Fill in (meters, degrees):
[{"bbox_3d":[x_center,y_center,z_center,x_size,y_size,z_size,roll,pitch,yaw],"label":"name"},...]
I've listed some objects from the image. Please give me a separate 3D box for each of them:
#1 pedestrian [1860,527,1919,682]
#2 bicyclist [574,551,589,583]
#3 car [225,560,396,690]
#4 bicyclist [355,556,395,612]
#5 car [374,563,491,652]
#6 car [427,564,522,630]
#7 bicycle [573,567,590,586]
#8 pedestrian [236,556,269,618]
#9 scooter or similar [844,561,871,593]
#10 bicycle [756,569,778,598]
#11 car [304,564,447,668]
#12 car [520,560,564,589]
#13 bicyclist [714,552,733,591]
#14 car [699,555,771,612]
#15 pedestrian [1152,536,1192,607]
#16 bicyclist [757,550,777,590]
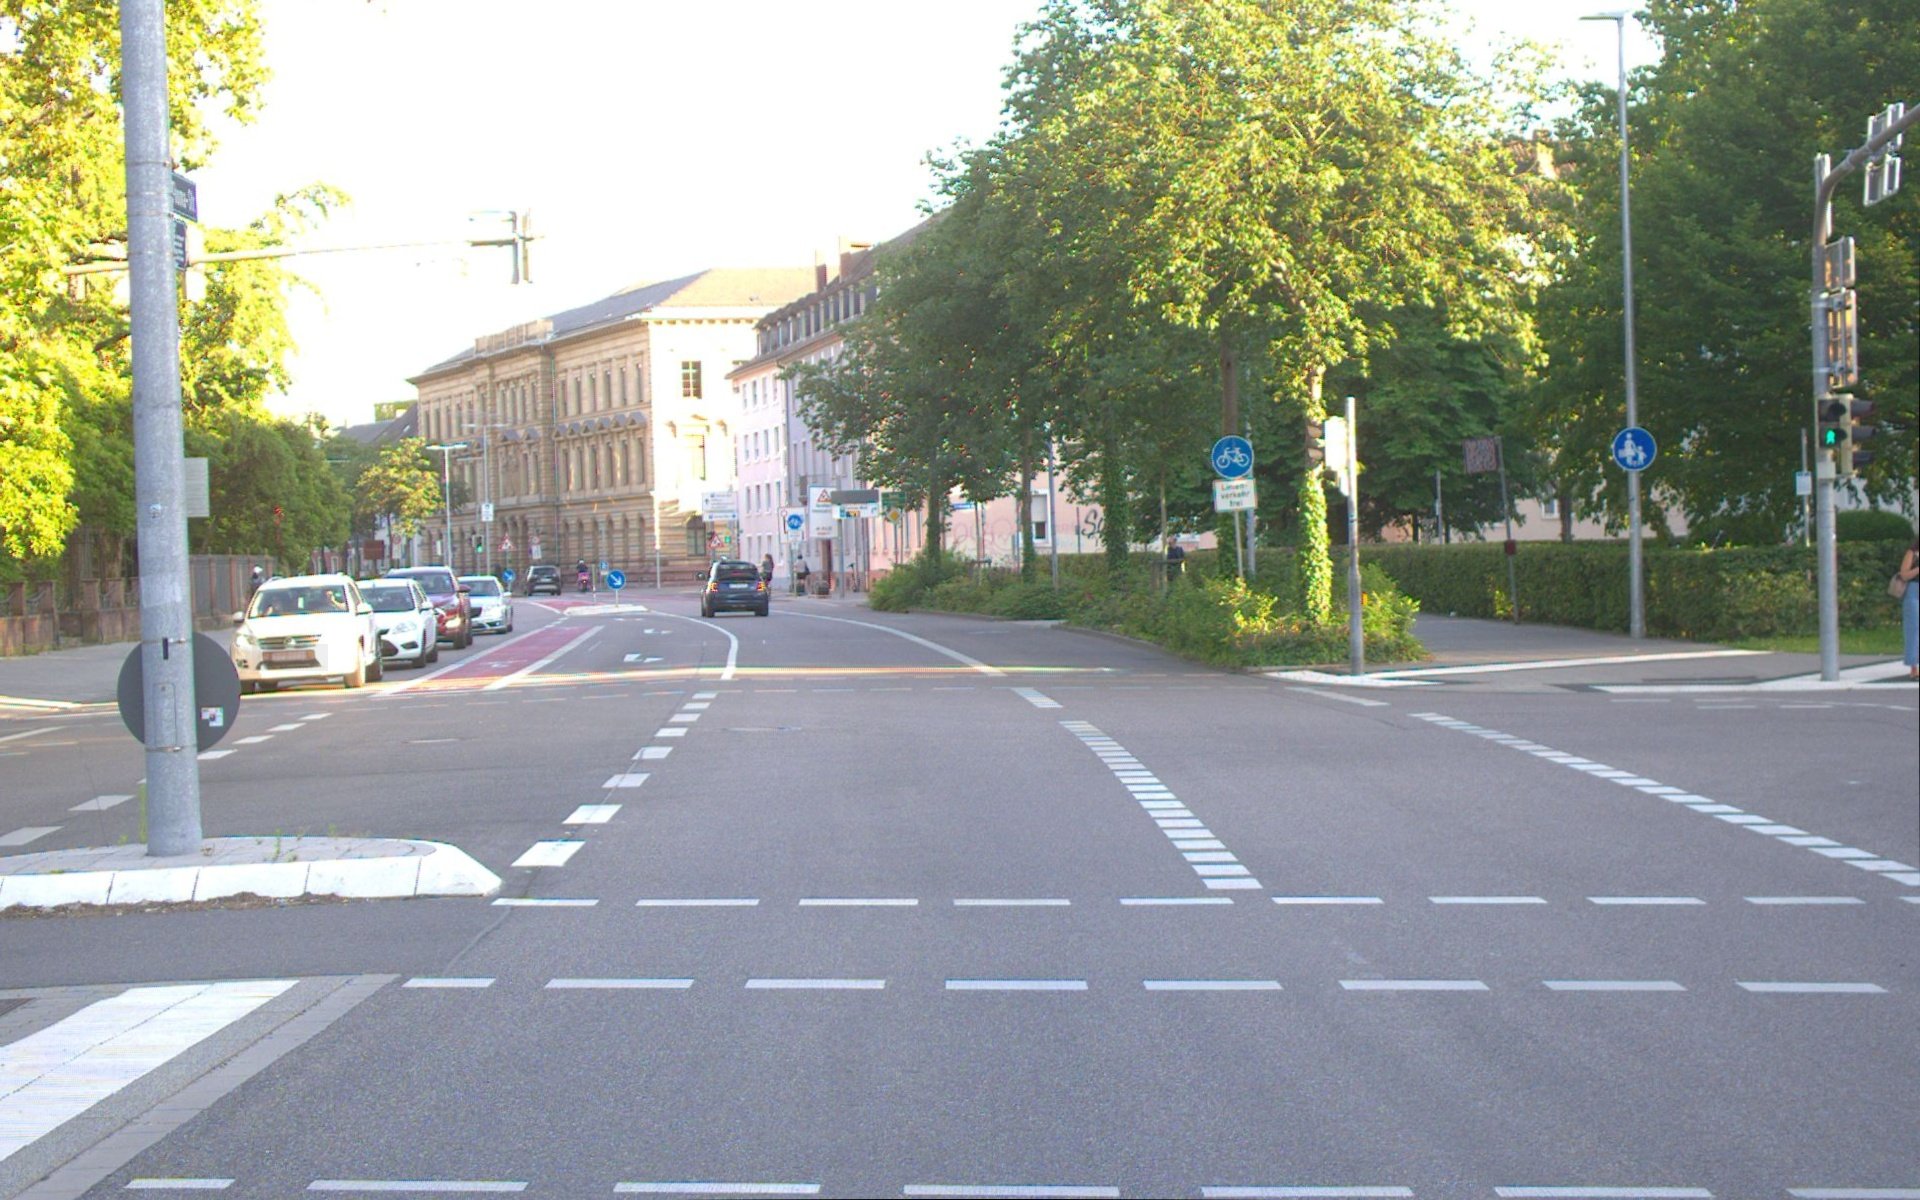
[{"bbox_3d":[10.127,0.037,36.877,0.681,1.616,0.845,-2,1,-1],"label":"pedestrian"},{"bbox_3d":[-20.548,-1.793,186.570,0.652,1.692,0.957,1,0,-13],"label":"bicyclist"},{"bbox_3d":[-9.450,0.325,50.320,1.916,1.690,4.427,-3,1,-5],"label":"car"},{"bbox_3d":[-15.364,-0.428,90.331,0.855,1.426,0.943,-1,1,0],"label":"bicyclist"},{"bbox_3d":[-10.649,0.129,69.659,1.916,1.619,4.640,-3,1,-5],"label":"car"},{"bbox_3d":[-11.616,-0.104,82.495,1.916,1.413,4.771,-3,1,-5],"label":"car"},{"bbox_3d":[-20.510,-1.272,186.381,0.652,1.012,2.198,1,1,-13],"label":"bicycle"},{"bbox_3d":[-18.772,-0.356,91.190,0.681,1.617,0.688,-2,1,-1],"label":"pedestrian"},{"bbox_3d":[-4.329,-0.990,145.357,0.629,1.332,2.401,-1,1,-14],"label":"scooter or similar"},{"bbox_3d":[-7.088,-0.611,126.113,0.652,1.012,2.198,1,1,-7],"label":"bicycle"},{"bbox_3d":[-9.923,0.240,58.655,1.916,1.578,4.675,-3,1,-5],"label":"car"},{"bbox_3d":[-21.881,-1.327,179.841,1.916,1.413,4.771,-4,1,-10],"label":"car"},{"bbox_3d":[-8.661,-1.041,125.961,0.652,1.441,0.879,1,0,-4],"label":"bicyclist"},{"bbox_3d":[-6.137,-0.456,94.199,1.867,1.505,4.000,-1,0,-3],"label":"car"},{"bbox_3d":[5.300,-0.711,85.958,0.769,1.733,0.807,-2,1,-10],"label":"pedestrian"},{"bbox_3d":[-7.084,-1.101,126.109,0.652,1.470,0.941,1,0,-6],"label":"bicyclist"}]
